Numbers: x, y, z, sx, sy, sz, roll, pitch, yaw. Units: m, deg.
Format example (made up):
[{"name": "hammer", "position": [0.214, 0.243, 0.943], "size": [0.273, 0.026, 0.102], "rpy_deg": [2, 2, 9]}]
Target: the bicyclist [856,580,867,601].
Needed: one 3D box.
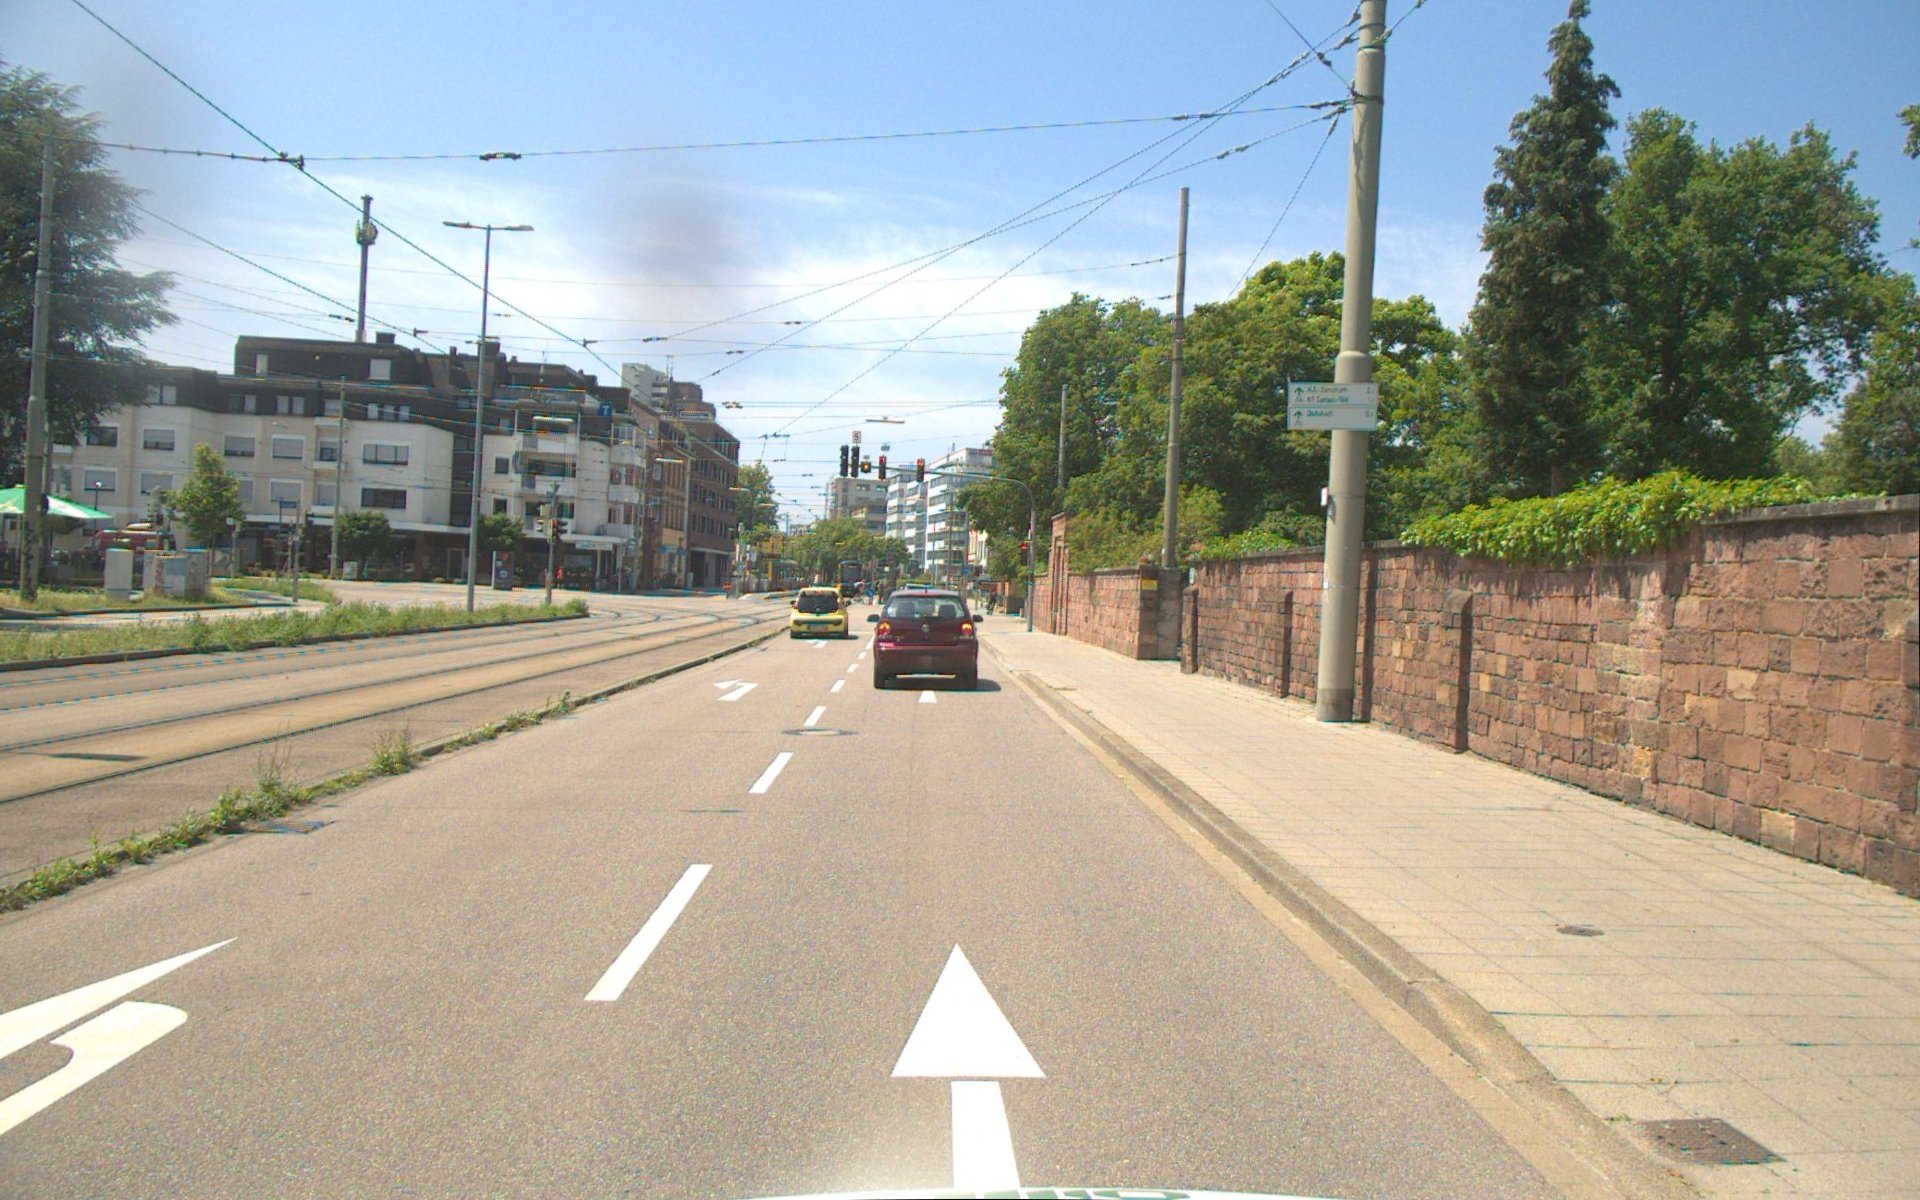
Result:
[{"name": "bicyclist", "position": [-6.796, -0.635, 113.916], "size": [0.751, 1.430, 0.506], "rpy_deg": [1, -1, -5]}]

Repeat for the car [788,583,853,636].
[{"name": "car", "position": [-4.027, 0.253, 48.249], "size": [1.689, 1.470, 3.291], "rpy_deg": [1, 1, -2]}]

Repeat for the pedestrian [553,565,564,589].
[{"name": "pedestrian", "position": [-26.995, -1.525, 111.230], "size": [0.473, 1.568, 0.538], "rpy_deg": [1, -1, 14]}]

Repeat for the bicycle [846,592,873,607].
[{"name": "bicycle", "position": [-6.901, -0.031, 113.846], "size": [1.829, 1.025, 0.578], "rpy_deg": [2, -1, -6]}]

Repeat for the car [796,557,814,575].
[{"name": "car", "position": [-18.504, -4.000, 197.277], "size": [1.700, 2.048, 3.999], "rpy_deg": [3, 0, -1]}]

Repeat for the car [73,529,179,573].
[{"name": "car", "position": [-48.512, -2.828, 96.277], "size": [4.963, 2.382, 2.243], "rpy_deg": [1, -1, -3]}]

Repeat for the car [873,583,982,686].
[{"name": "car", "position": [-0.541, 0.490, 26.095], "size": [1.577, 1.489, 4.084], "rpy_deg": [0, 0, -2]}]

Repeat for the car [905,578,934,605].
[{"name": "car", "position": [-2.203, -0.464, 88.941], "size": [1.541, 1.440, 3.719], "rpy_deg": [0, 0, -2]}]

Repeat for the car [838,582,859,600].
[{"name": "car", "position": [-10.790, -0.831, 160.141], "size": [1.899, 1.670, 3.998], "rpy_deg": [1, 0, -2]}]

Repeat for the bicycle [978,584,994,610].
[{"name": "bicycle", "position": [1.590, -0.178, 101.138], "size": [0.818, 1.552, 3.999], "rpy_deg": [1, 0, -1]}]

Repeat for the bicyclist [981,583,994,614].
[{"name": "bicyclist", "position": [1.678, -0.093, 99.778], "size": [0.707, 1.850, 0.888], "rpy_deg": [1, -1, -1]}]
